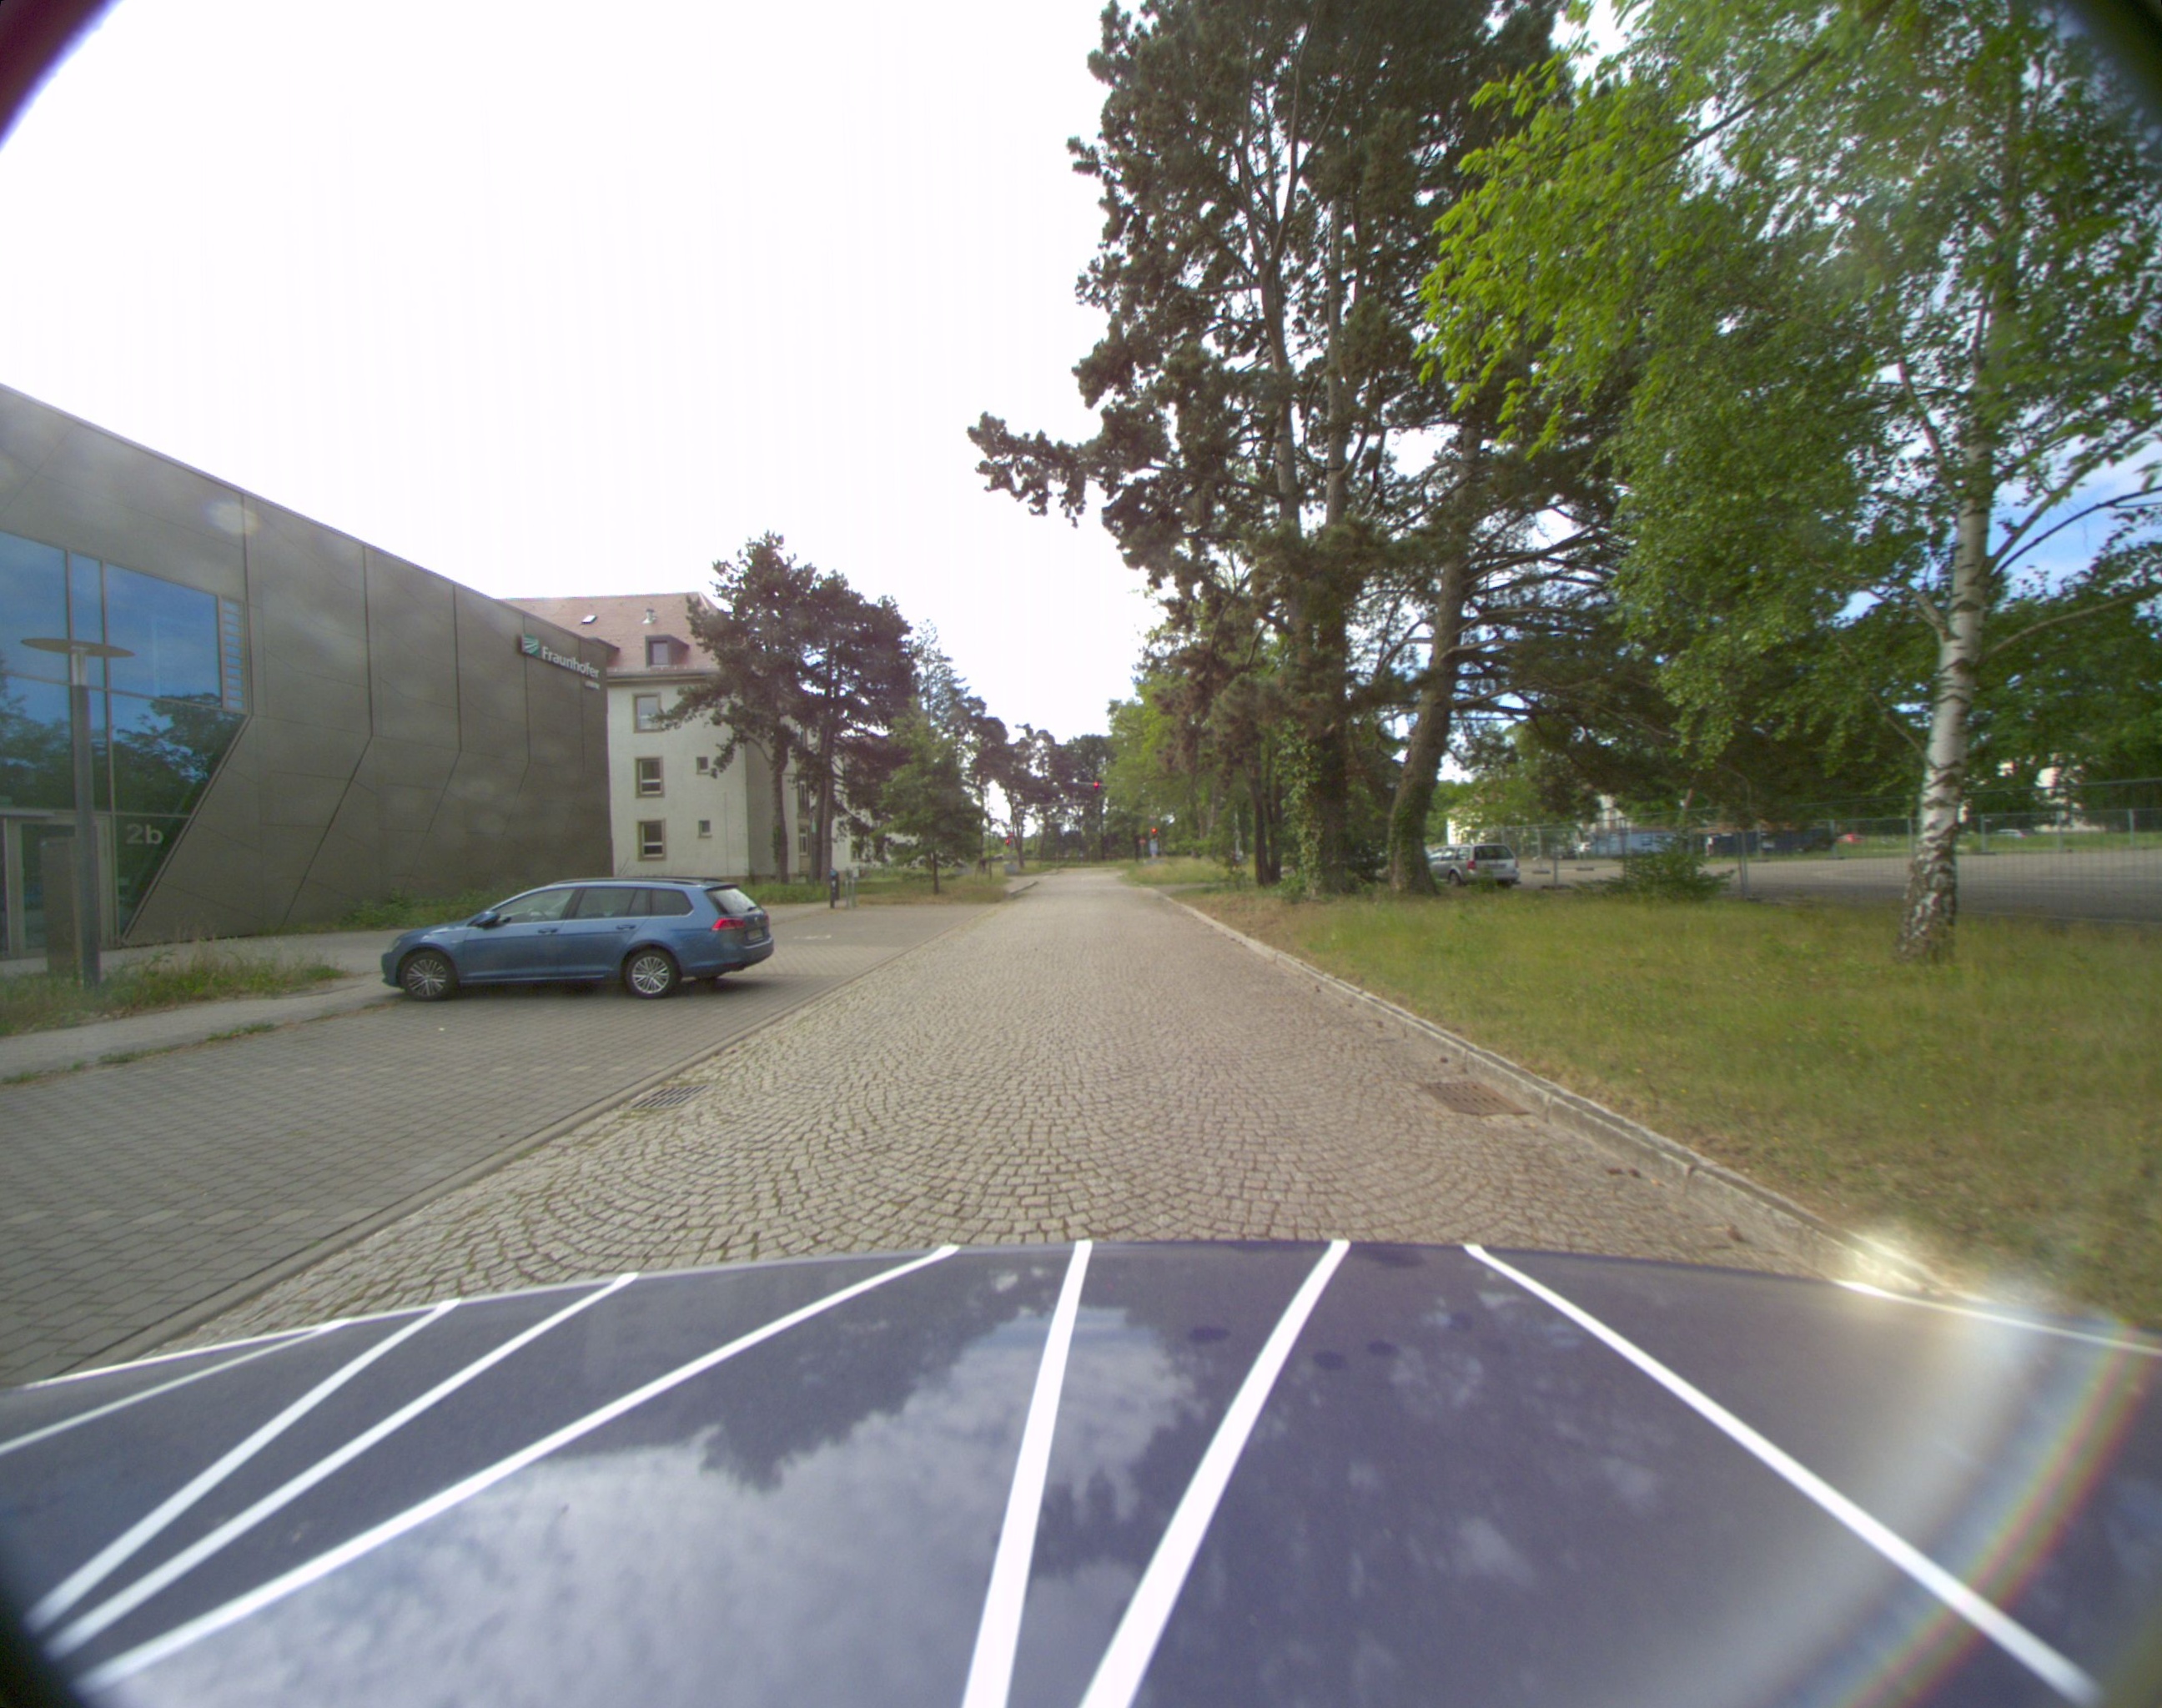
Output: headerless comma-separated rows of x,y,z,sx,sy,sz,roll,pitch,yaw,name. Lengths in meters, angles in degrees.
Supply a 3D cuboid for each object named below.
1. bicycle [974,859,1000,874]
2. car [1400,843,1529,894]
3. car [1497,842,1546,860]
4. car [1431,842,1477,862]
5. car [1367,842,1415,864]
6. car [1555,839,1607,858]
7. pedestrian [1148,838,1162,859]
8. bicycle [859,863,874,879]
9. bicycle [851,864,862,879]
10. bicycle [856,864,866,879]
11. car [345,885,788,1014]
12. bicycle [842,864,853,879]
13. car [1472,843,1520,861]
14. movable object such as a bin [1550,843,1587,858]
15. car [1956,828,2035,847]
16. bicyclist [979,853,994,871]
-8.641,1.157,69.830,2.167,1.268,0.962,-2,0,-36,bicycle
12.149,0.427,24.452,1.720,1.430,4.466,-2,0,-2,car
42.438,-0.304,73.328,1.840,1.512,4.585,-2,-2,-2,car
30.667,-0.141,62.550,1.736,1.512,4.115,-2,-2,1,car
25.269,-0.030,62.075,1.840,1.568,4.585,-2,-2,-2,car
48.197,-0.512,73.326,1.840,1.564,4.585,-2,-2,-2,car
5.661,-0.419,58.029,0.883,1.509,0.822,-2,0,15,pedestrian
-19.709,1.555,69.790,0.572,1.324,1.839,-2,0,8,bicycle
-20.638,1.610,69.815,0.572,1.324,1.837,-2,0,-5,bicycle
-20.206,1.584,69.803,0.482,1.324,1.837,-2,0,-5,bicycle
-6.480,1.173,10.017,4.534,1.435,1.823,0,0,-3,car
-21.403,1.637,69.752,0.572,1.324,1.837,-2,0,-5,bicycle
39.819,-0.158,73.019,1.840,1.512,4.585,-2,-2,-2,car
31.707,-0.198,49.444,1.041,0.927,1.935,-1,0,-7,movable object such as a bin
87.354,-1.518,72.653,1.840,1.512,4.585,-2,-2,-2,car
-8.708,0.761,69.811,0.919,1.625,0.962,-2,0,-36,bicyclist
